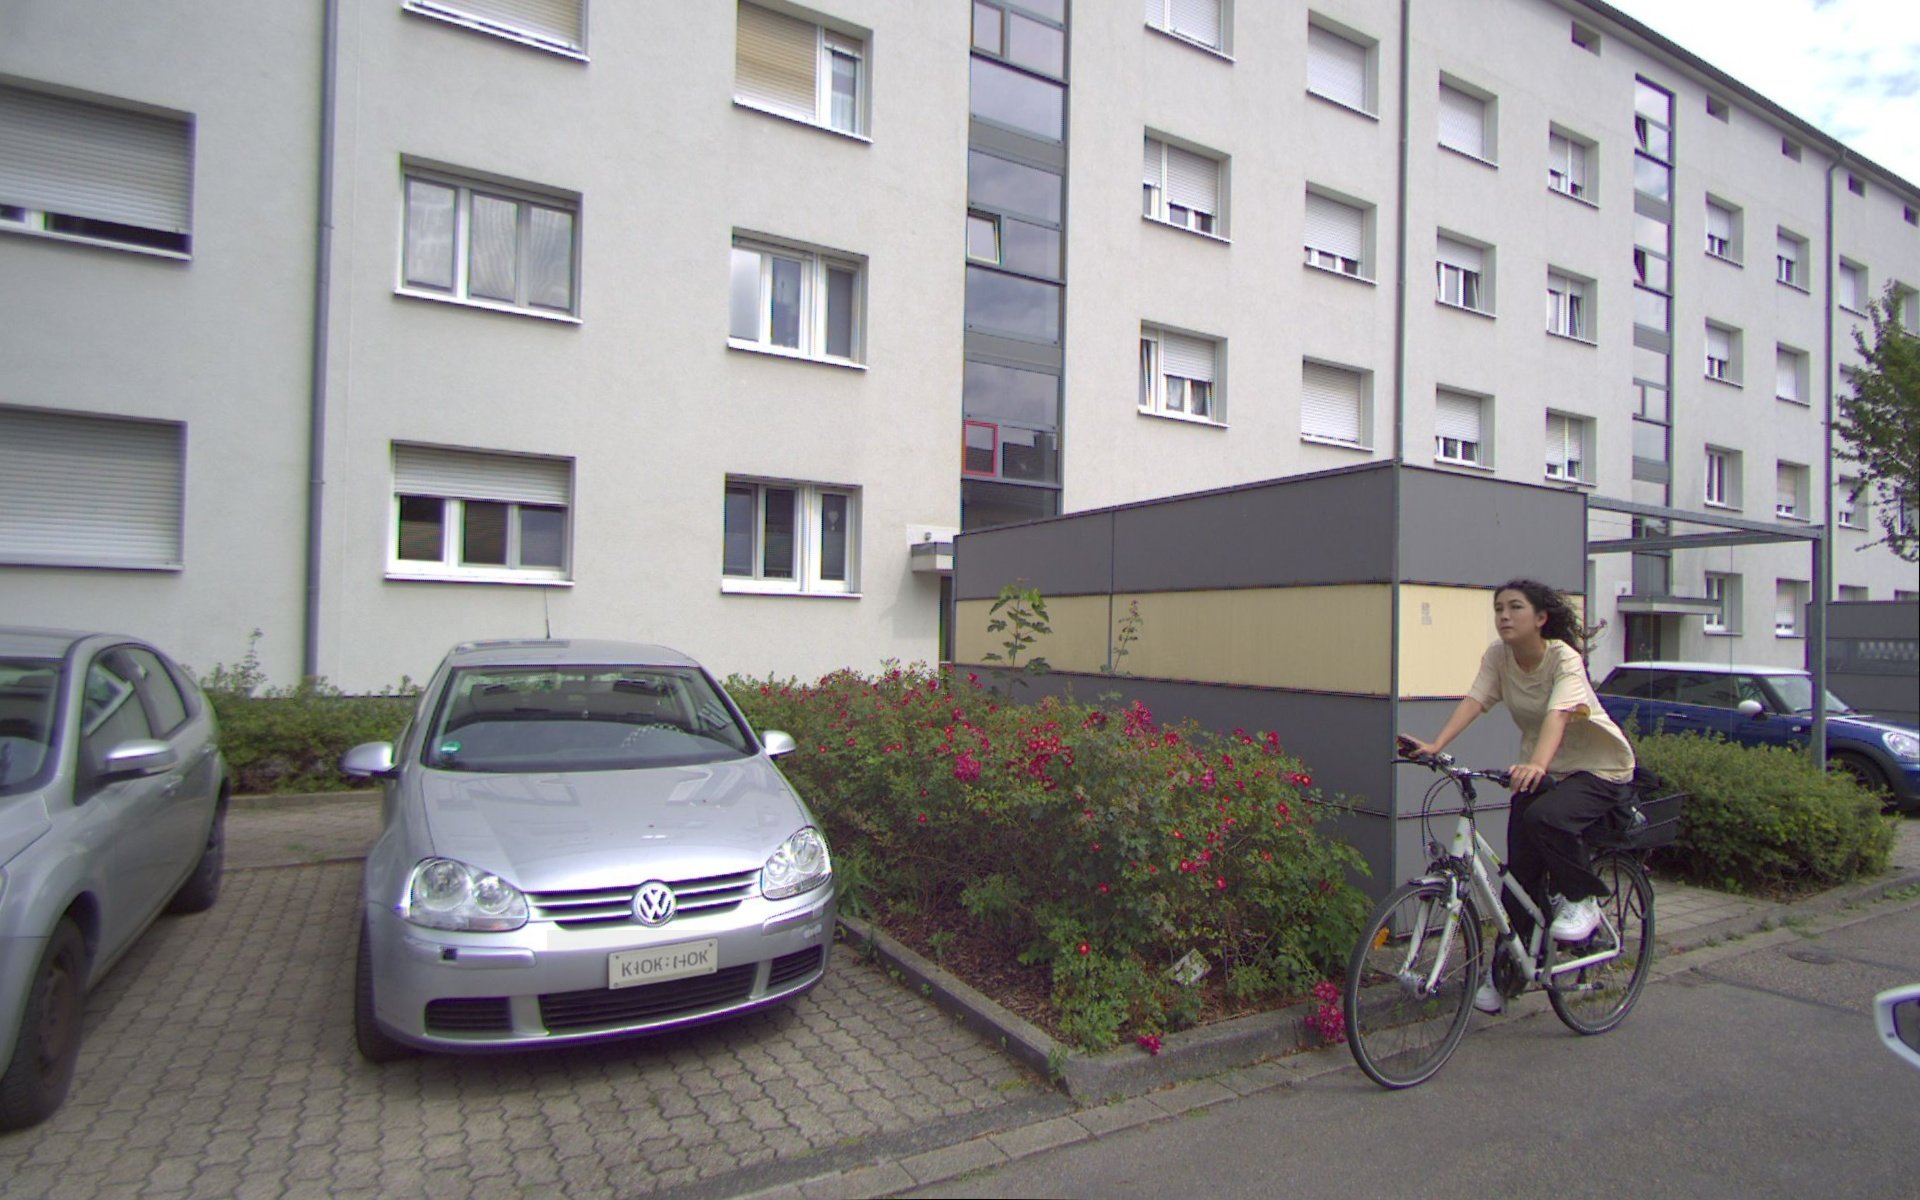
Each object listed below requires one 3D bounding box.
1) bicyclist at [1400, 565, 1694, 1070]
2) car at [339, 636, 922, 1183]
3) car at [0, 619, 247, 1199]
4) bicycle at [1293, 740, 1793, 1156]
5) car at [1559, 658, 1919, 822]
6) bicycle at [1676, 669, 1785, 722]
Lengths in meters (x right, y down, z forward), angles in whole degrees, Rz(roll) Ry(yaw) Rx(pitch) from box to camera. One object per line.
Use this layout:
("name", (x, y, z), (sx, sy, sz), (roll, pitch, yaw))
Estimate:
("bicyclist", (2.120, 0.715, 3.660), (0.757, 1.601, 0.595), (2, -3, -28))
("car", (-1.874, 0.946, 4.964), (1.760, 1.483, 4.035), (2, -3, -29))
("car", (-4.078, 0.847, 3.767), (1.760, 1.524, 4.035), (2, -3, -29))
("bicycle", (2.177, 1.113, 3.673), (2.017, 1.090, 0.595), (2, -3, -28))
("car", (8.964, 1.421, 11.233), (1.630, 1.480, 3.625), (2, -3, -25))
("bicycle", (16.363, 2.018, 21.371), (1.775, 1.038, 0.479), (0, -2, 21))
